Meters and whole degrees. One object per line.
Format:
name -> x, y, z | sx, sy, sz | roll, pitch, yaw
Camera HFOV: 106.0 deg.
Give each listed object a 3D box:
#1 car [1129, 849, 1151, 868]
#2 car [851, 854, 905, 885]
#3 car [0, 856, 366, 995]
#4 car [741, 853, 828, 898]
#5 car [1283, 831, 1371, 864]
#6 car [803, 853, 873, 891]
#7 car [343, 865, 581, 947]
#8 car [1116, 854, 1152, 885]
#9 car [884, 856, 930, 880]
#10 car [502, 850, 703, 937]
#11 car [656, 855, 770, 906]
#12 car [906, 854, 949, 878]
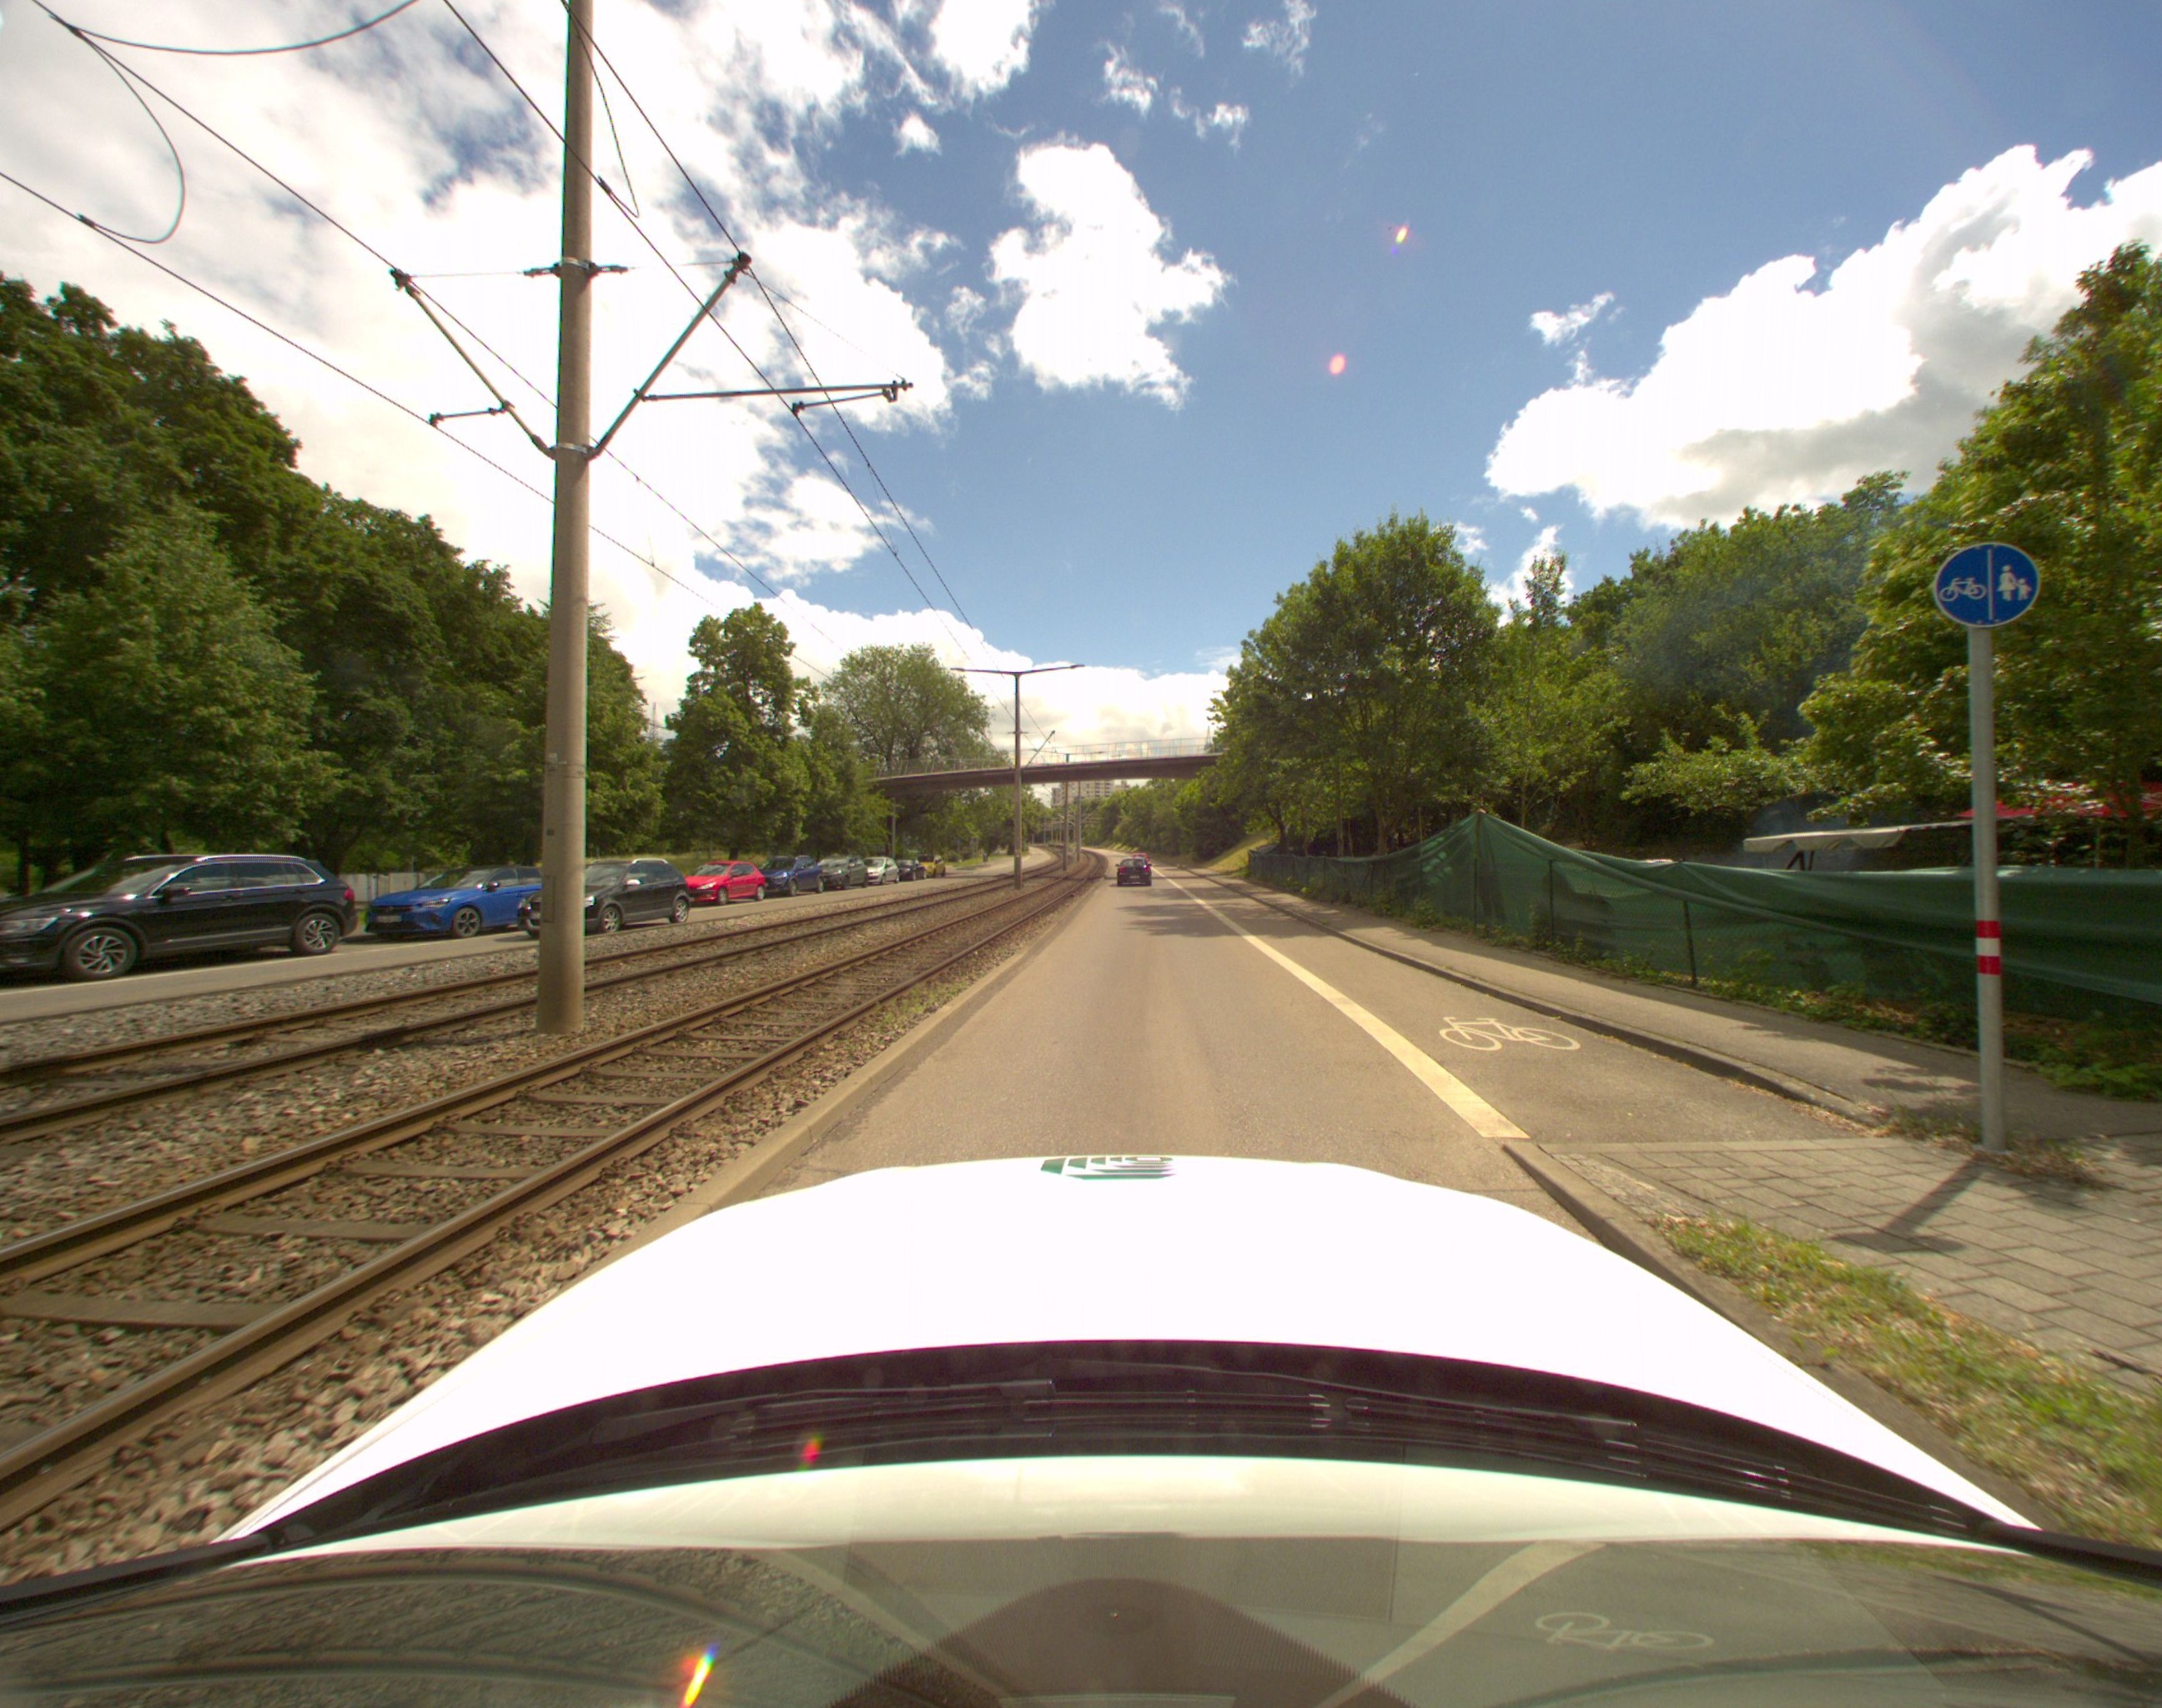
car -> 4.912, 0.395, 67.609 | 1.616, 1.443, 3.427 | 2, -1, 6
car -> -10.698, 0.781, 43.175 | 1.586, 1.494, 4.195 | 2, 0, 3
car -> -13.213, 0.858, 11.804 | 1.572, 1.605, 4.381 | -1, 0, 5
car -> -11.569, 0.851, 32.092 | 1.550, 1.596, 4.165 | 2, -2, 5
car -> 14.040, -0.352, 46.705 | 4.500, 1.672, 2.003 | -2, -2, 6
car -> -11.075, 0.775, 37.417 | 1.634, 1.622, 4.131 | -1, 0, 5
car -> -12.728, 1.015, 17.118 | 1.605, 1.461, 4.012 | 2, -2, 5
car -> 2.716, 0.744, 41.236 | 1.700, 1.460, 3.965 | 2, 0, 5
car -> -10.318, 0.817, 48.562 | 1.504, 1.360, 4.134 | -1, 0, 5
car -> -9.921, 0.789, 17.304 | 1.606, 1.574, 4.004 | 2, -1, 4
car -> -12.038, 0.872, 26.949 | 1.605, 1.494, 4.052 | 2, -2, 5
car -> -10.013, 0.818, 53.362 | 1.681, 1.450, 3.903 | 2, -2, 5
